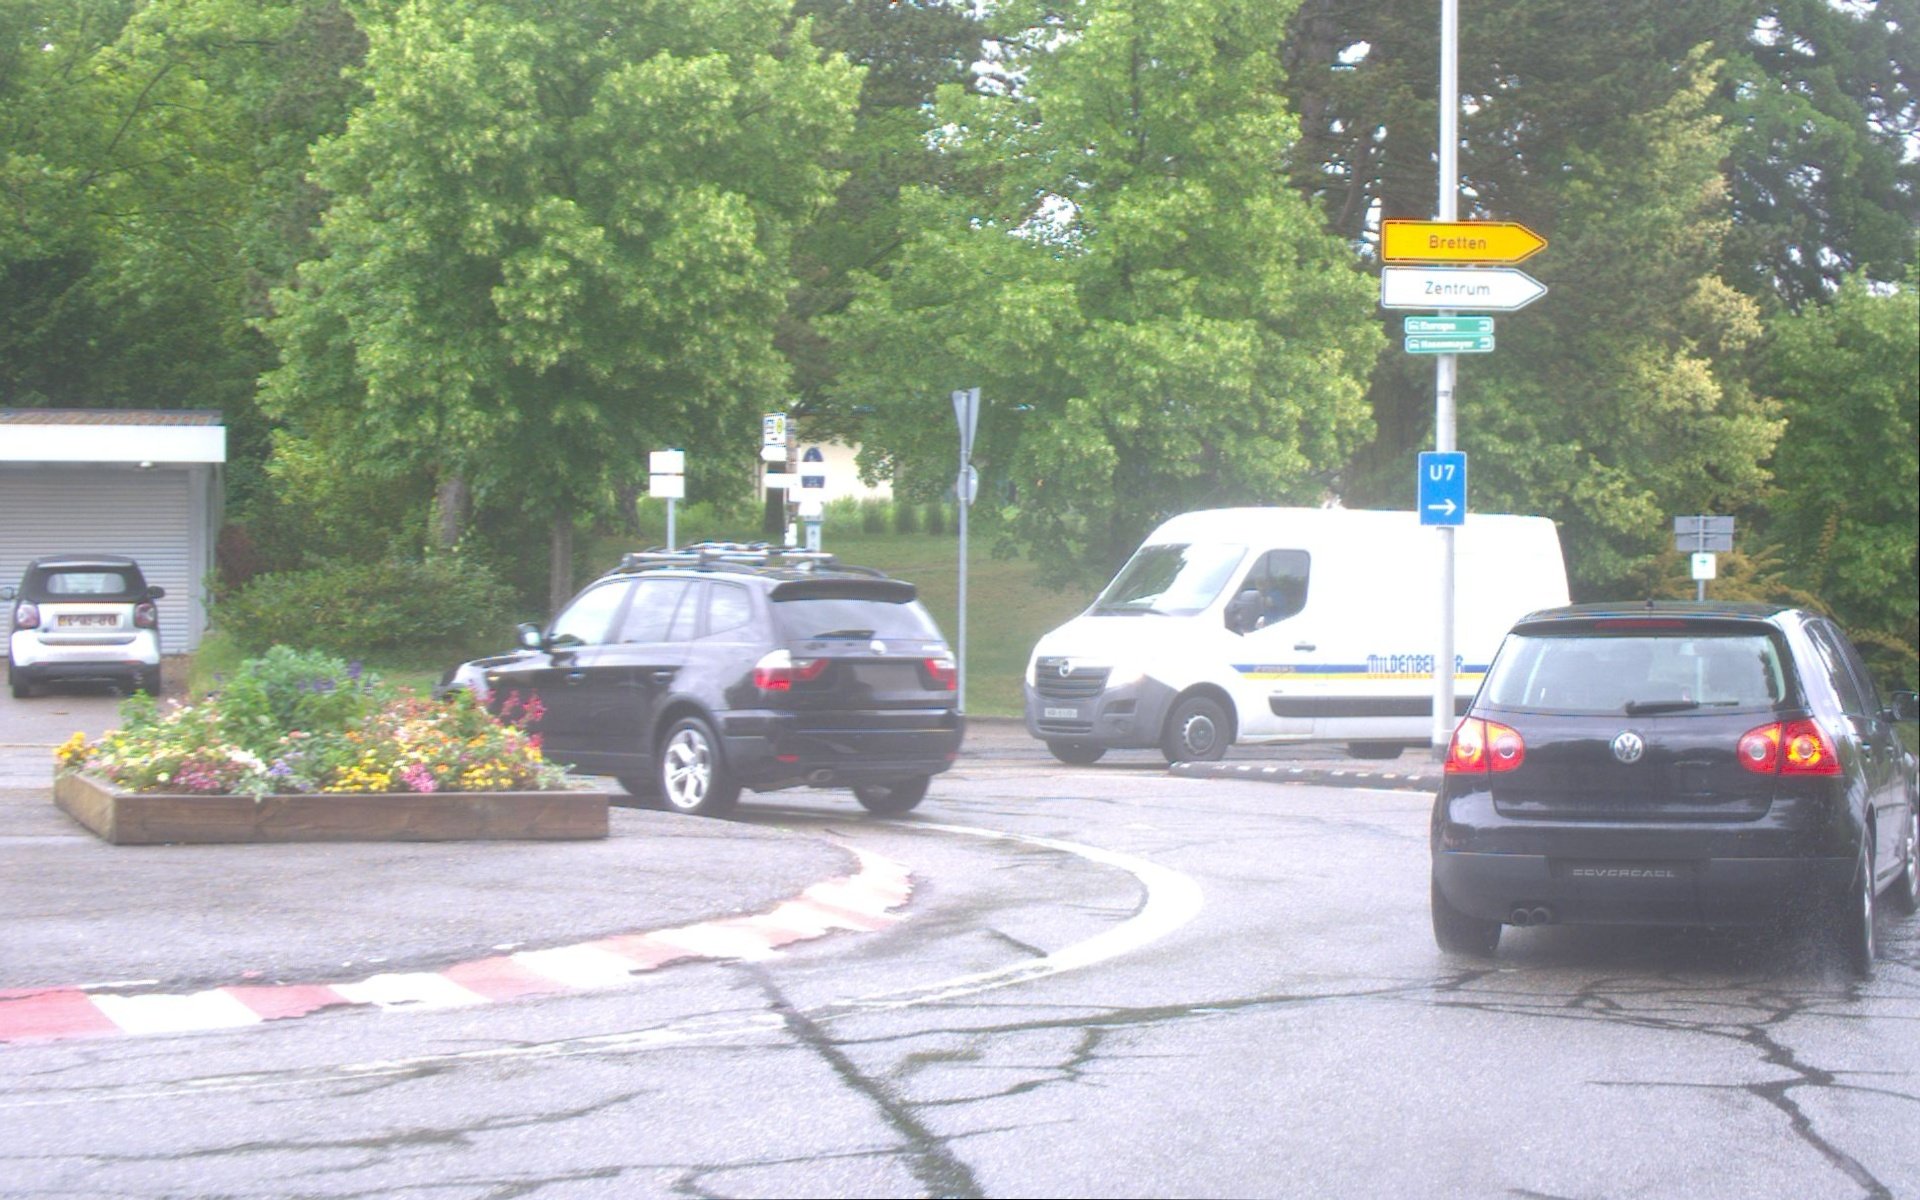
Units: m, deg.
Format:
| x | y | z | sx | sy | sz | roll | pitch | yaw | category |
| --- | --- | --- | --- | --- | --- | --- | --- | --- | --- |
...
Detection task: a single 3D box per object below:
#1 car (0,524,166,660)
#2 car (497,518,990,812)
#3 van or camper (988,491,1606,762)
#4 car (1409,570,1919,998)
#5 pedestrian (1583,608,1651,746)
| x | y | z | sx | sy | sz | roll | pitch | yaw | category |
| --- | --- | --- | --- | --- | --- | --- | --- | --- | --- |
| -10.147 | -0.112 | 39.822 | 1.812 | 1.481 | 3.832 | -1 | 1 | -13 | car |
| -1.578 | 0.396 | 23.362 | 1.764 | 1.795 | 4.246 | -1 | 0 | -27 | car |
| 3.255 | 0.293 | 32.592 | 5.650 | 2.370 | 2.201 | 2 | 0 | -34 | van or camper |
| 3.251 | 0.667 | 14.987 | 1.766 | 1.533 | 3.996 | 2 | 1 | 19 | car |
| 8.358 | 0.971 | 43.707 | 0.738 | 1.719 | 0.816 | 2 | 0 | 16 | pedestrian |
